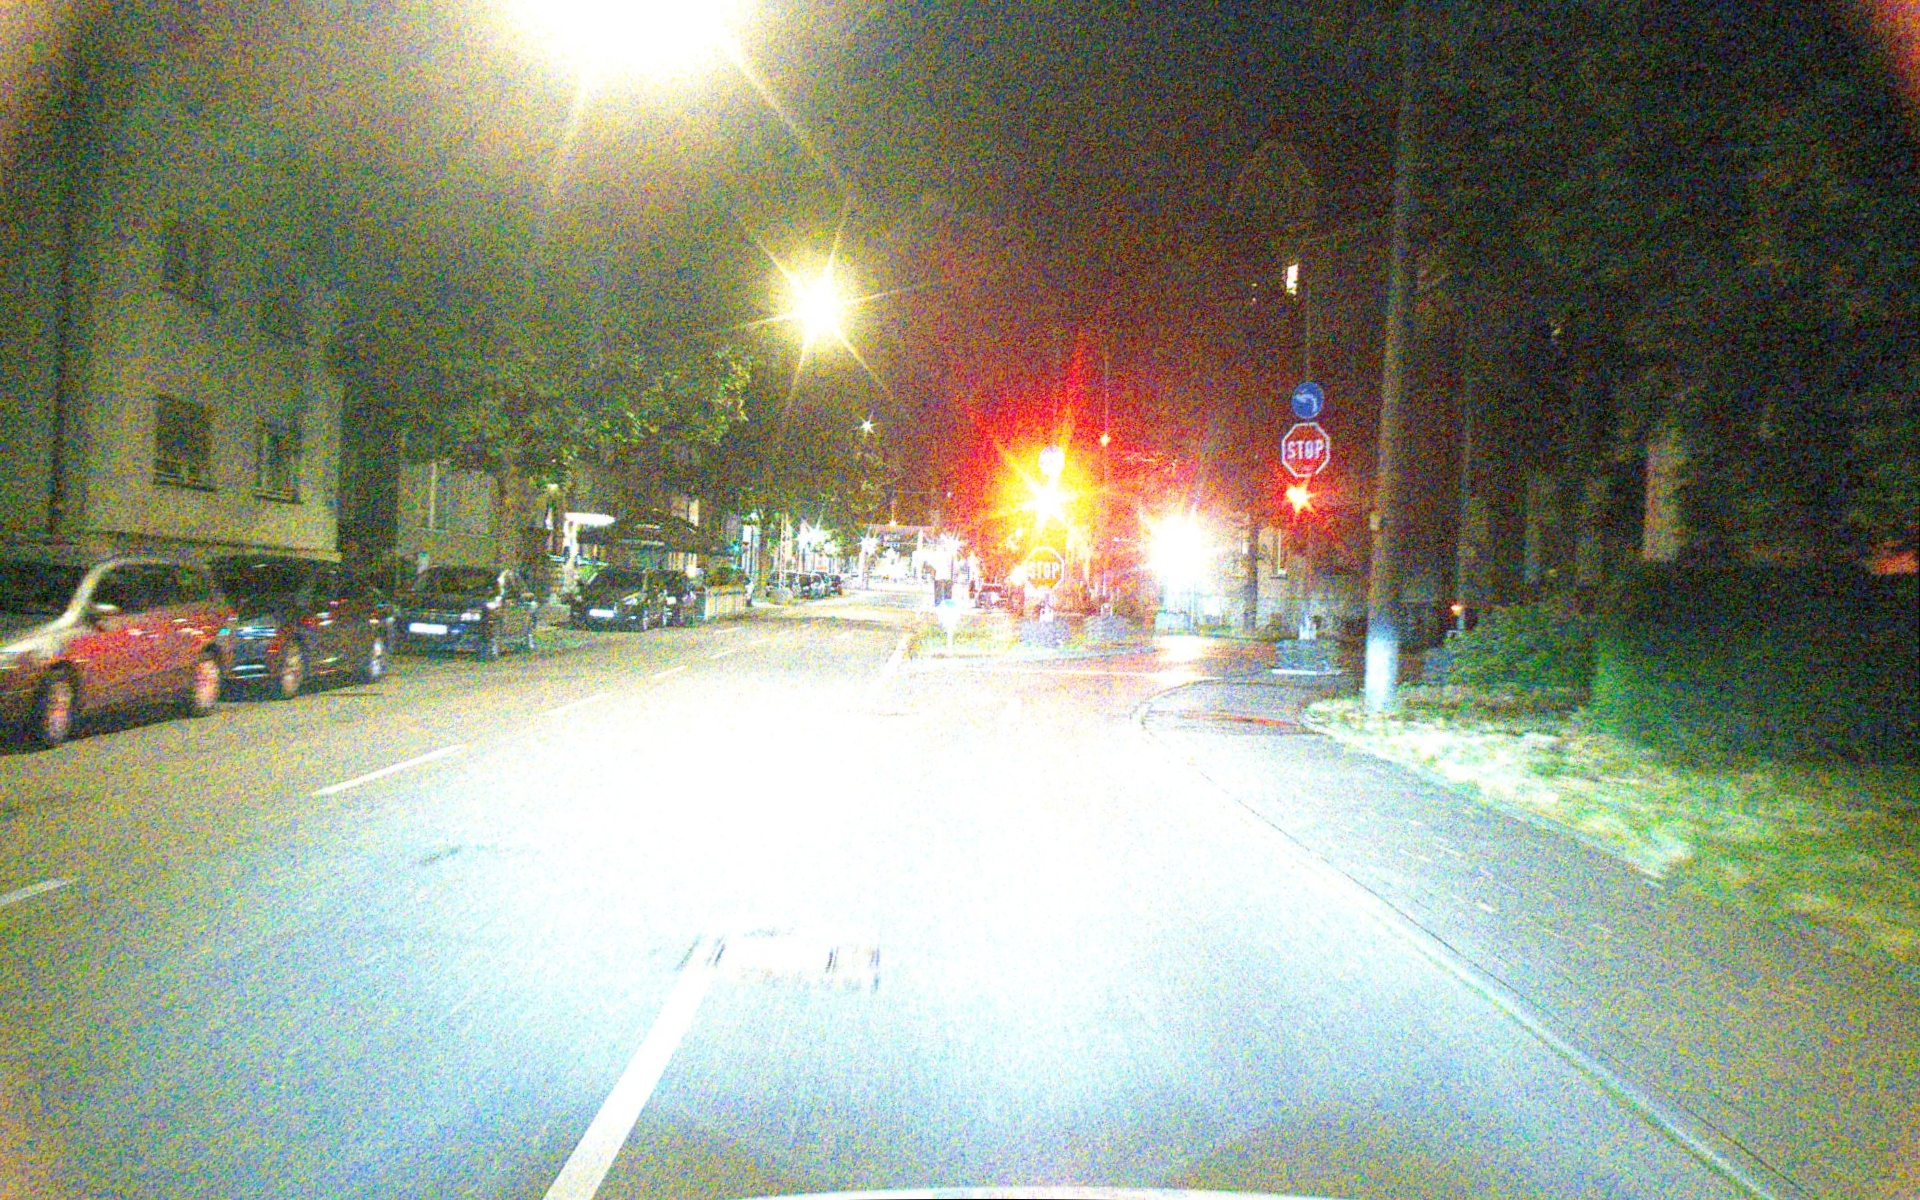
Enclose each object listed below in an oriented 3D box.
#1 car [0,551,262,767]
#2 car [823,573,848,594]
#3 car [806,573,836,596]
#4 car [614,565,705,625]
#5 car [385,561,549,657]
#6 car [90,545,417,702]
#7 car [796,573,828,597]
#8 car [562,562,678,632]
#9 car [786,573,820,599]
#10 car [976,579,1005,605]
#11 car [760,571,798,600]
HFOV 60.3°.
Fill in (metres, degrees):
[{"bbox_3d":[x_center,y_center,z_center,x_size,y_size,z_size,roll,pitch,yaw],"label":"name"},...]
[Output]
[{"bbox_3d":[-7.661,0.371,13.866,1.732,1.511,4.765,2,0,-3],"label":"car"},{"bbox_3d":[-9.225,-1.237,122.700,1.618,1.456,3.999,2,1,-1],"label":"car"},{"bbox_3d":[-9.134,-1.033,108.966,1.618,1.456,3.999,2,1,-1],"label":"car"},{"bbox_3d":[-8.176,-0.147,45.395,1.767,1.507,4.322,2,0,-2],"label":"car"},{"bbox_3d":[-8.008,0.122,27.241,1.590,1.407,4.449,2,0,-4],"label":"car"},{"bbox_3d":[-7.831,0.216,18.905,1.732,1.511,4.862,2,0,-2],"label":"car"},{"bbox_3d":[-9.122,-0.933,102.080,1.618,1.456,3.999,2,1,-1],"label":"car"},{"bbox_3d":[-8.230,-0.115,40.399,1.861,1.497,4.452,4,1,-1],"label":"car"},{"bbox_3d":[-9.122,-0.824,96.069,1.618,1.456,3.999,2,1,-1],"label":"car"},{"bbox_3d":[1.800,-0.469,98.634,1.617,1.456,4.000,2,1,1],"label":"car"},{"bbox_3d":[-9.600,-0.791,87.888,1.618,1.456,3.999,2,1,-1],"label":"car"}]
